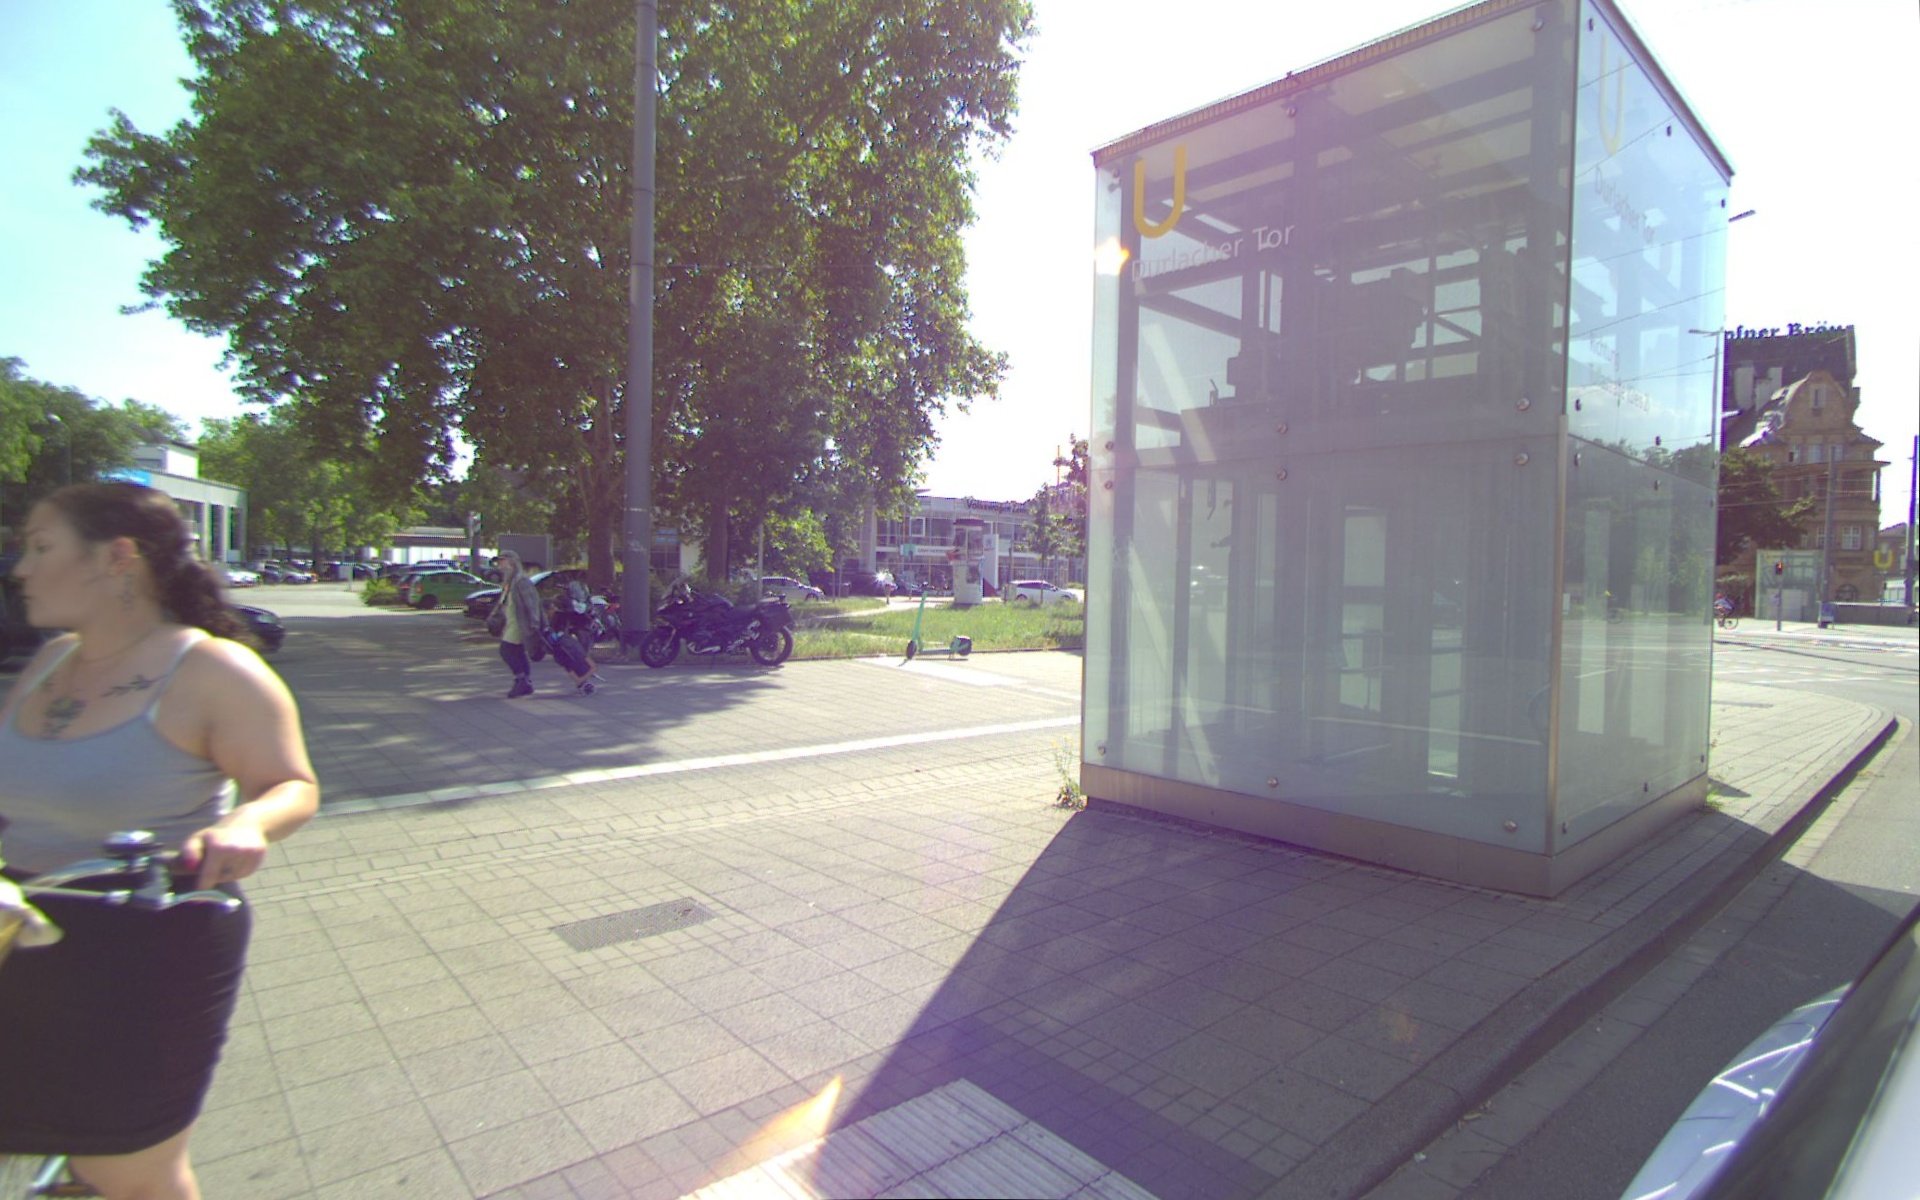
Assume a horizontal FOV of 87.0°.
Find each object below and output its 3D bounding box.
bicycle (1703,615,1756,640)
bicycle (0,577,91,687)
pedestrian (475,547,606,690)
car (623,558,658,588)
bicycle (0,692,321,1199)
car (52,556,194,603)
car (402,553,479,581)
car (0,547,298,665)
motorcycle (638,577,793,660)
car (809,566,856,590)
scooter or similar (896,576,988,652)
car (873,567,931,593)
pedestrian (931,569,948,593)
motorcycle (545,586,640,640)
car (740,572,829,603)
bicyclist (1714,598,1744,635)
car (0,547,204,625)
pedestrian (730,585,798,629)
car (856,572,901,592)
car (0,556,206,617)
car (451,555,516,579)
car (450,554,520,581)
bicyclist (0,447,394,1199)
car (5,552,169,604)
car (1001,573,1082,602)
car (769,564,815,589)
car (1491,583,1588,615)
[{"bbox_3d":[36.749,1.294,48.351,0.701,1.028,2.025,-1,2,-15],"label":"bicycle"},{"bbox_3d":[-10.378,0.317,11.396,0.572,1.099,1.759,0,3,-30],"label":"bicycle"},{"bbox_3d":[-4.470,0.182,10.792,1.098,1.421,0.656,1,3,-42],"label":"pedestrian"},{"bbox_3d":[-20.198,-1.680,63.882,1.958,1.705,4.009,3,0,-18],"label":"car"},{"bbox_3d":[-1.549,0.819,1.485,0.739,1.144,1.800,0,1,-23],"label":"bicycle"},{"bbox_3d":[-29.091,-0.709,35.283,3.668,1.417,1.742,3,0,-40],"label":"car"},{"bbox_3d":[-30.728,-1.919,59.987,3.916,1.388,2.004,3,0,-24],"label":"car"},{"bbox_3d":[-11.783,0.090,14.202,4.020,1.489,1.657,0,-1,-40],"label":"car"},{"bbox_3d":[-3.330,0.251,13.824,1.995,1.075,0.642,1,1,-16],"label":"motorcycle"},{"bbox_3d":[-8.598,-1.492,67.892,1.958,1.504,4.008,3,0,-25],"label":"car"},{"bbox_3d":[-0.289,0.212,15.824,1.335,1.133,0.518,1,1,-13],"label":"scooter or similar"},{"bbox_3d":[-4.115,-1.412,71.160,3.989,1.638,1.796,3,0,45],"label":"car"},{"bbox_3d":[-1.403,-1.288,69.677,0.937,1.600,0.535,3,0,-27],"label":"pedestrian"},{"bbox_3d":[-6.432,0.207,17.820,0.630,0.852,2.032,2,2,10],"label":"motorcycle"},{"bbox_3d":[-9.646,-0.668,55.719,4.502,1.454,1.977,3,0,-19],"label":"car"},{"bbox_3d":[36.736,0.776,48.334,0.701,1.690,0.877,-1,2,-15],"label":"bicyclist"},{"bbox_3d":[-18.599,-0.292,21.510,3.928,1.458,1.889,3,0,-40],"label":"car"},{"bbox_3d":[-4.195,0.142,21.631,1.156,0.903,0.821,0,2,-42],"label":"pedestrian"},{"bbox_3d":[-5.574,-1.241,68.763,1.798,1.210,4.008,3,0,-24],"label":"car"},{"bbox_3d":[-21.277,-0.322,25.164,3.928,1.286,1.742,3,0,-40],"label":"car"},{"bbox_3d":[-32.325,-2.239,68.765,3.917,1.526,2.004,1,2,-25],"label":"car"},{"bbox_3d":[-29.849,-2.051,63.676,3.917,1.571,2.004,1,2,-25],"label":"car"},{"bbox_3d":[-1.330,0.595,1.575,0.718,1.592,0.614,0,1,-23],"label":"bicyclist"},{"bbox_3d":[-26.666,-0.654,31.070,3.668,1.357,1.742,3,0,-40],"label":"car"},{"bbox_3d":[4.778,-0.739,59.659,4.505,1.454,1.447,3,0,-9],"label":"car"},{"bbox_3d":[-11.124,-1.570,66.843,1.958,1.504,4.008,3,0,-25],"label":"car"},{"bbox_3d":[30.046,-0.076,52.663,1.602,1.453,4.790,1,2,-11],"label":"car"}]
